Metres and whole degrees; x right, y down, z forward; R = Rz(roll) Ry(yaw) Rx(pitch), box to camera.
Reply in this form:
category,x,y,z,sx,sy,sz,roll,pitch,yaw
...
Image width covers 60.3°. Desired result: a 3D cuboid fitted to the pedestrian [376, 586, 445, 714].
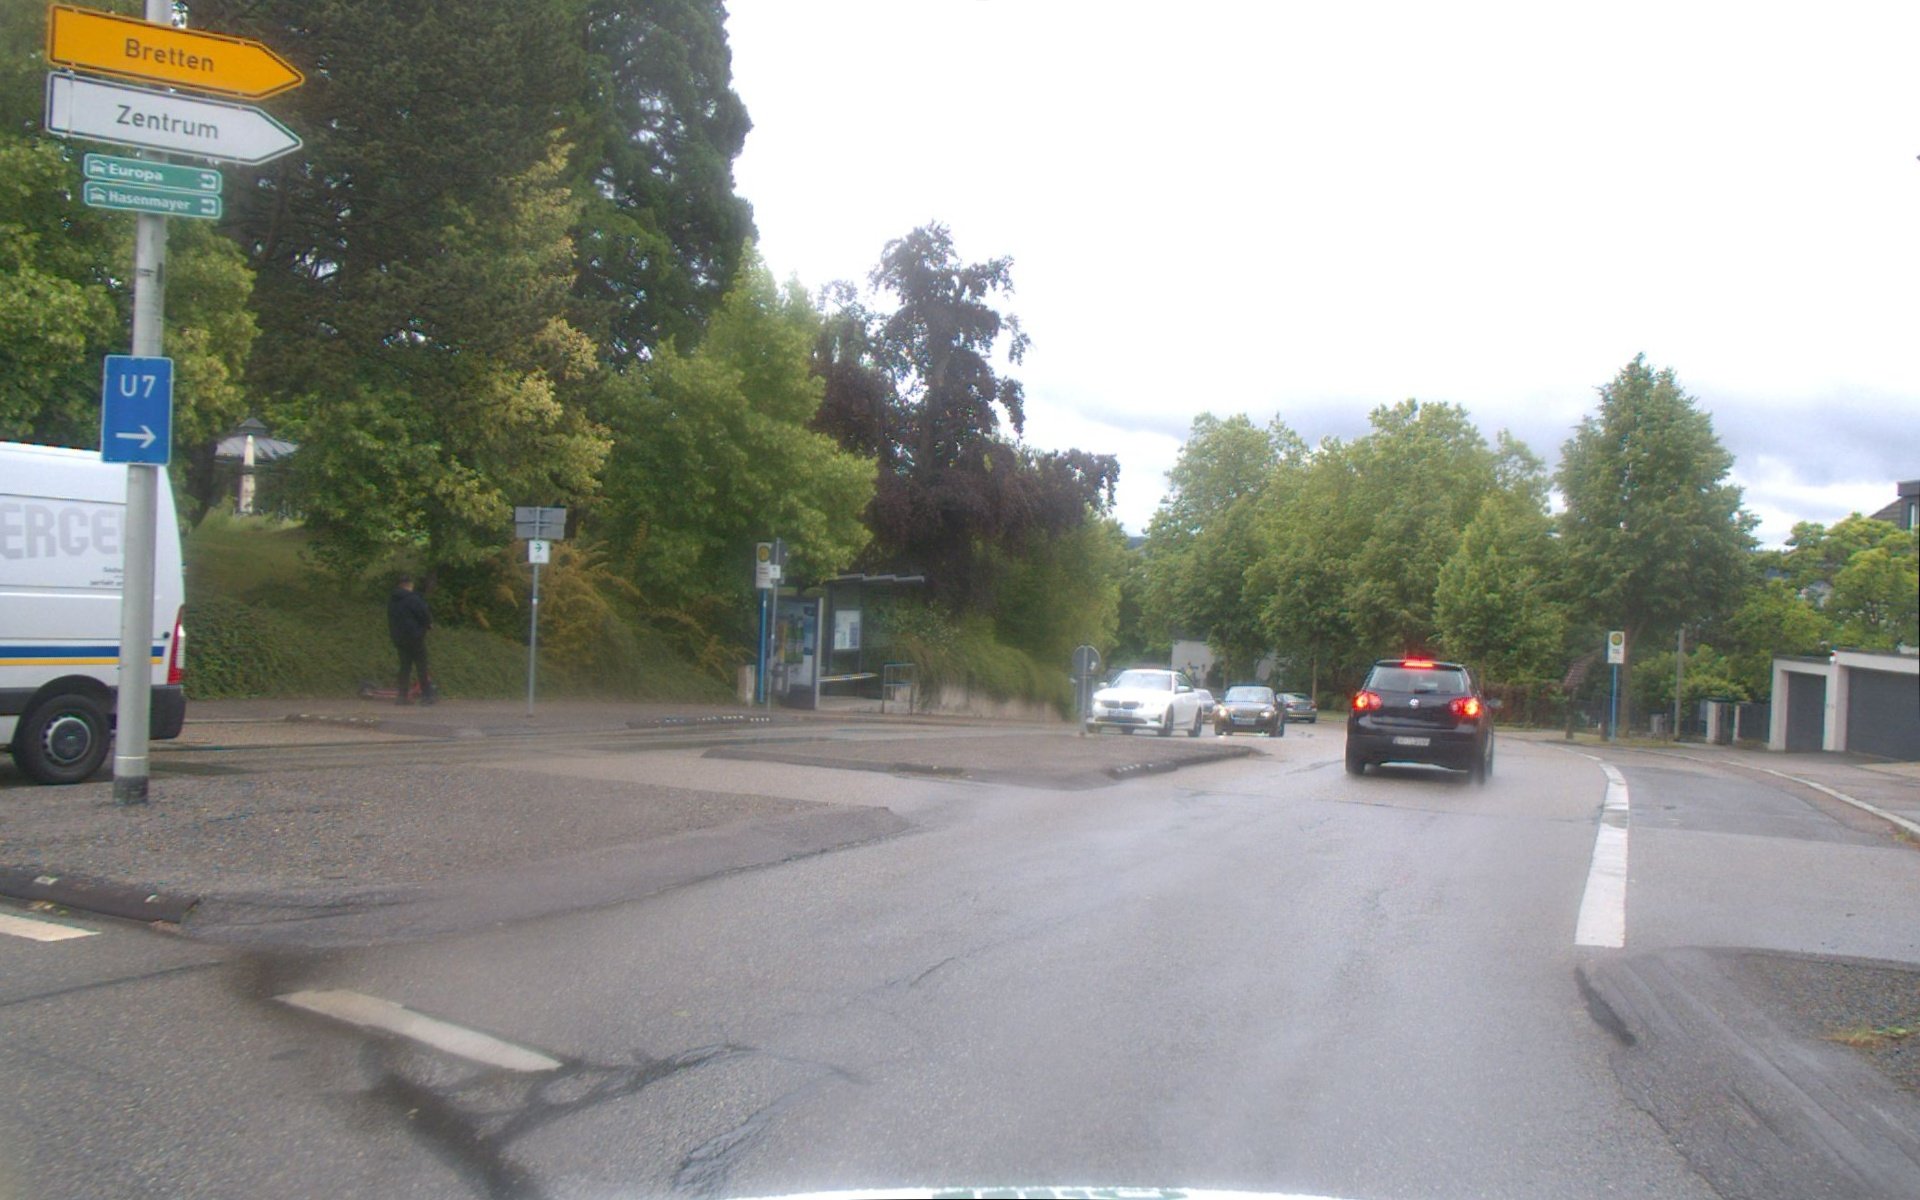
category,x,y,z,sx,sy,sz,roll,pitch,yaw
pedestrian,-7.823,0.706,23.584,0.724,1.755,0.814,3,-1,-10

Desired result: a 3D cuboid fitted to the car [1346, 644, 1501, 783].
category,x,y,z,sx,sy,sz,roll,pitch,yaw
car,6.212,1.454,21.885,1.728,1.565,4.001,3,-2,18

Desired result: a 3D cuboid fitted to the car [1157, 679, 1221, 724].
category,x,y,z,sx,sy,sz,roll,pitch,yaw
car,10.713,4.745,77.750,2.026,1.871,3.994,2,-1,-6

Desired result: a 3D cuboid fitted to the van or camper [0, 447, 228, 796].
category,x,y,z,sx,sy,sz,roll,pitch,yaw
van or camper,-8.136,0.067,11.064,2.153,2.419,5.657,2,-1,30

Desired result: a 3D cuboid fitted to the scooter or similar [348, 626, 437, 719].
category,x,y,z,sx,sy,sz,roll,pitch,yaw
scooter or similar,-8.054,1.023,23.508,0.431,1.272,1.314,2,-1,18

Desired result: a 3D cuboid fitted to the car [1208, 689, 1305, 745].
category,x,y,z,sx,sy,sz,roll,pitch,yaw
car,8.623,3.368,47.835,1.870,1.417,4.514,2,-3,21

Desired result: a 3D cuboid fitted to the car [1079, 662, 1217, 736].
category,x,y,z,sx,sy,sz,roll,pitch,yaw
car,4.210,2.206,36.360,1.870,1.417,4.514,3,-3,21

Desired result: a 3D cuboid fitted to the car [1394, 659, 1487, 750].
category,x,y,z,sx,sy,sz,roll,pitch,yaw
car,10.517,2.277,36.417,1.727,1.833,4.249,1,-3,13

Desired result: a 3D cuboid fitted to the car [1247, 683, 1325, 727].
category,x,y,z,sx,sy,sz,roll,pitch,yaw
car,15.775,5.049,80.167,2.033,1.871,3.980,2,-1,-18
